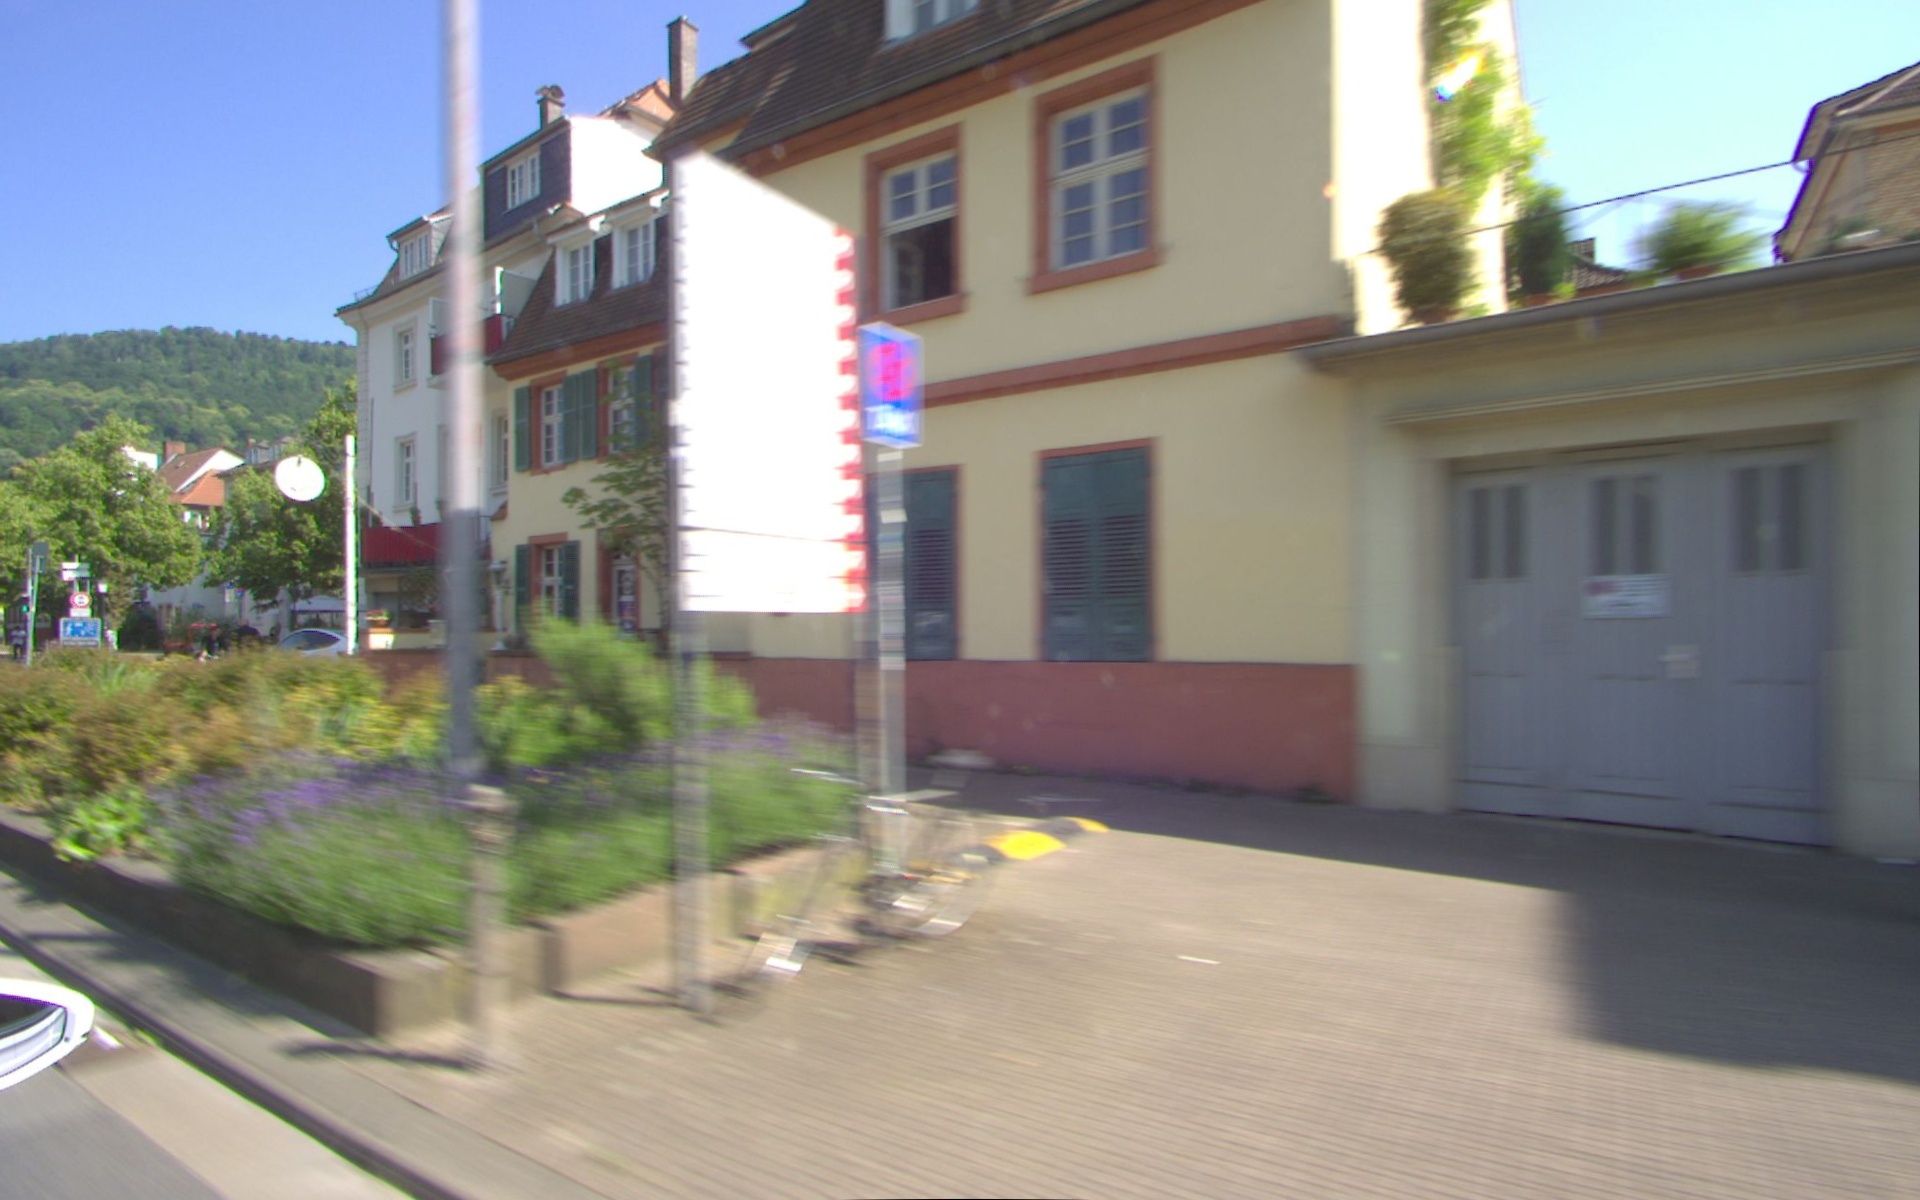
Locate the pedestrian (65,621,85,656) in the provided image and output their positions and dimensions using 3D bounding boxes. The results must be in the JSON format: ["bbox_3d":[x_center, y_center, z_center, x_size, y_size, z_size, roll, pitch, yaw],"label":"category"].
[{"bbox_3d":[-39.554,1.720,44.729,0.680,1.536,0.458,0,-2,31],"label":"pedestrian"}]

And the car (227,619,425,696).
[{"bbox_3d":[-14.360,1.247,22.623,4.657,1.597,1.875,-1,-2,31],"label":"car"}]

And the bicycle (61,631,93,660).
[{"bbox_3d":[-34.694,1.773,39.341,0.588,1.081,2.054,0,-1,-32],"label":"bicycle"}]

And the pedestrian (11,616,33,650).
[{"bbox_3d":[-46.740,1.659,49.899,0.698,1.674,0.704,-1,-1,39],"label":"pedestrian"}]

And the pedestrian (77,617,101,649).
[{"bbox_3d":[-39.001,1.472,44.850,0.534,1.399,0.625,0,-3,31],"label":"pedestrian"}]

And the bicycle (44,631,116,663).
[{"bbox_3d":[-33.679,1.810,38.363,1.996,1.213,0.517,3,-2,-40],"label":"bicycle"}]

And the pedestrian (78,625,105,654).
[{"bbox_3d":[-38.365,1.757,44.234,0.753,1.268,0.692,0,-1,31],"label":"pedestrian"}]

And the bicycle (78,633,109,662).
[{"bbox_3d":[-34.210,1.877,39.535,0.588,1.081,2.054,0,-2,-32],"label":"bicycle"}]

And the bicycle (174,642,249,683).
[{"bbox_3d":[-18.394,1.531,24.603,1.753,0.976,0.750,-1,-2,26],"label":"bicycle"}]

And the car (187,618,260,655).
[{"bbox_3d":[-36.201,1.766,49.182,4.511,1.751,1.762,-1,-1,39],"label":"car"}]

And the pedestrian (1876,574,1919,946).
[{"bbox_3d":[5.005,0.740,4.686,0.920,1.721,0.736,0,0,31],"label":"pedestrian"}]

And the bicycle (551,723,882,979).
[{"bbox_3d":[-1.076,1.107,4.896,0.494,0.889,1.810,0,-3,27],"label":"bicycle"}]

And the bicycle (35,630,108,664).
[{"bbox_3d":[-33.541,1.769,37.823,1.983,1.213,0.517,4,-3,-39],"label":"bicycle"}]

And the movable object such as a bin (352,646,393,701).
[{"bbox_3d":[-11.811,1.474,20.144,0.360,1.081,0.638,-1,-1,39],"label":"movable object such as a bin"}]

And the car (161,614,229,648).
[{"bbox_3d":[-44.624,1.782,58.400,4.574,1.927,1.987,-1,-1,37],"label":"car"}]

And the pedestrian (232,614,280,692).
[{"bbox_3d":[-17.441,1.299,24.800,0.601,1.883,0.760,0,1,31],"label":"pedestrian"}]

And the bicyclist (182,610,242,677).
[{"bbox_3d":[-18.354,1.055,24.581,1.071,1.604,0.766,-1,-1,25],"label":"bicyclist"}]
